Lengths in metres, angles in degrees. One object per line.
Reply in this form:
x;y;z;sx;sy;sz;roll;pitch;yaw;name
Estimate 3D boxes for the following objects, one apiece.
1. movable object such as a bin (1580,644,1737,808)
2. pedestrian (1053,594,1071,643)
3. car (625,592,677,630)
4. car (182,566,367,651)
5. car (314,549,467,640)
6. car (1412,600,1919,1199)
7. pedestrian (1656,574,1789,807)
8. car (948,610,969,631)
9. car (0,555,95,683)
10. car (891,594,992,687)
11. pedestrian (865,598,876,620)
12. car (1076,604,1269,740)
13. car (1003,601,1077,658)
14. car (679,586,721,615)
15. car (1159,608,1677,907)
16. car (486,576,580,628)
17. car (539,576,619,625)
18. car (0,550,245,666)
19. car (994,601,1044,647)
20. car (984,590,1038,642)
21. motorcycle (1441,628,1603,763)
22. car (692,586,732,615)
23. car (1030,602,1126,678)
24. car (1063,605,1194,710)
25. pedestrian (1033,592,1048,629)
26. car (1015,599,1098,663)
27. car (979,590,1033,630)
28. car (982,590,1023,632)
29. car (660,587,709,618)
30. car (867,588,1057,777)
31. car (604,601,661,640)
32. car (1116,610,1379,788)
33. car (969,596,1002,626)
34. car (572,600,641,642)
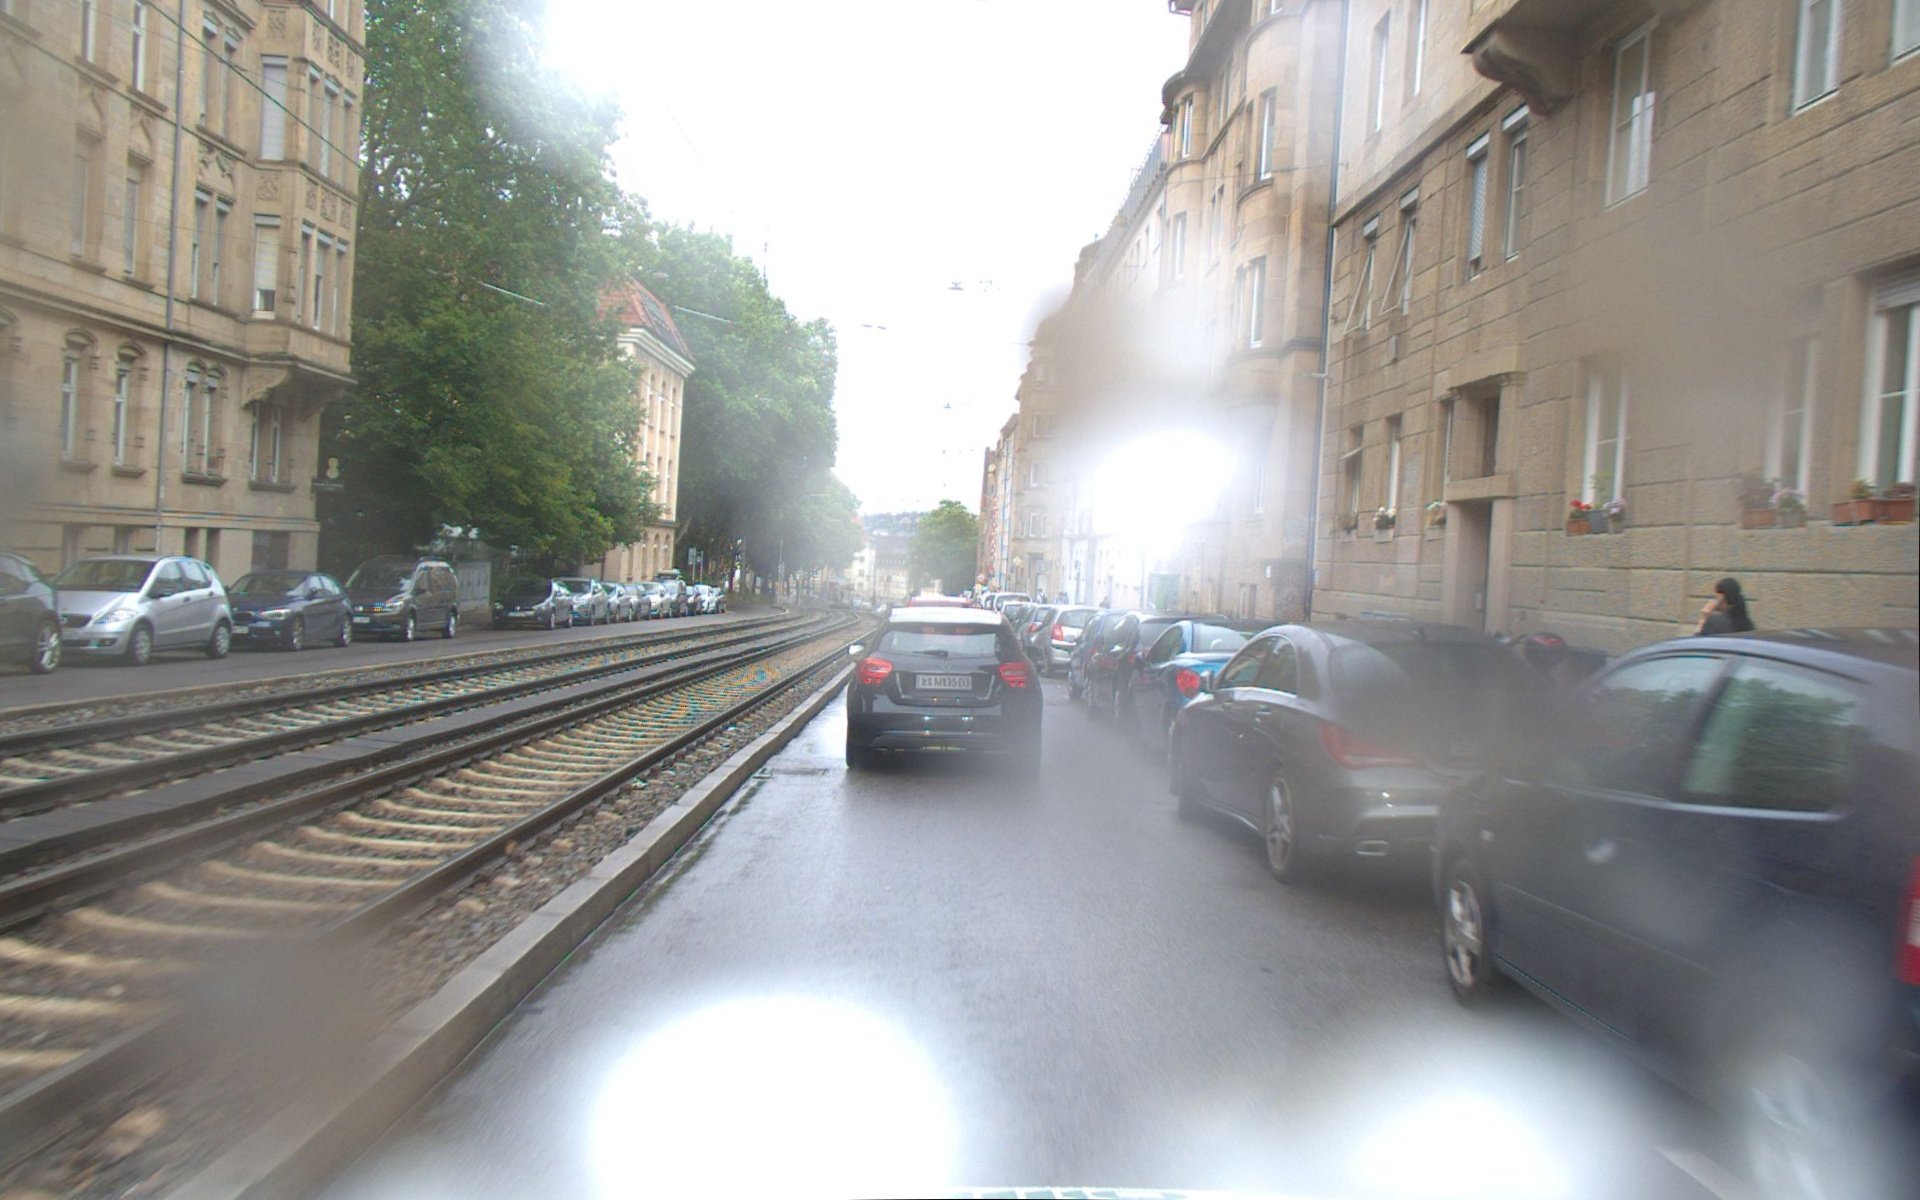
5.270;0.928;12.537;0.651;1.122;1.123;3;0;-1;movable object such as a bin
3.824;0.685;61.857;0.594;1.794;0.688;1;0;-2;pedestrian
-13.023;0.440;69.941;1.508;1.531;4.153;0;0;-2;car
-12.532;0.146;30.536;1.727;1.422;4.268;1;0;-2;car
-12.621;-0.124;36.982;1.764;1.879;4.817;1;0;-1;car
2.750;0.749;5.112;1.637;1.469;3.790;1;0;0;car
5.336;0.618;11.599;0.550;1.562;0.710;2;0;-1;pedestrian
-0.172;1.766;143.531;1.790;1.646;3.863;1;0;-1;car
-12.401;0.197;19.868;1.832;1.534;4.168;2;0;-1;car
-0.357;0.721;31.590;1.749;1.608;3.999;2;0;-1;car
-6.845;0.674;126.673;0.789;1.662;0.892;1;0;0;pedestrian
2.594;0.832;21.078;1.751;1.488;4.082;2;0;-2;car
2.162;0.779;45.826;1.636;1.434;4.310;2;0;-2;car
-13.312;0.021;84.821;1.469;1.415;3.987;0;0;0;car
2.527;0.785;10.351;1.720;1.411;4.481;1;0;-4;car
-12.711;0.055;49.465;1.812;1.489;4.548;0;0;-3;car
-12.651;0.007;55.204;1.719;1.563;4.541;0;0;-2;car
-12.343;0.105;24.656;1.660;1.550;3.854;1;0;0;car
2.002;0.804;57.019;1.538;1.487;3.599;2;0;0;car
1.869;0.567;61.443;1.754;1.796;4.211;1;0;-1;car
5.810;0.943;17.293;0.691;1.219;2.745;2;0;-1;motorcycle
-13.352;0.026;89.146;1.582;1.454;3.851;2;1;-1;car
2.451;0.804;34.954;1.559;1.459;3.682;2;0;-3;car
2.542;0.832;25.569;1.513;1.439;3.445;2;0;-2;car
4.040;0.507;83.239;0.730;1.866;1.039;0;0;0;pedestrian
2.315;0.724;40.544;1.634;1.459;3.954;1;0;-2;car
1.796;0.373;66.500;1.834;1.481;4.901;2;0;-2;car
1.922;0.493;76.249;1.791;1.781;4.467;2;0;1;car
-13.328;0.118;80.171;1.640;1.438;4.010;0;0;0;car
-0.016;0.694;15.769;1.548;1.531;3.573;2;0;-1;car
-12.782;0.775;64.690;1.508;1.438;3.951;0;0;-2;car
2.630;0.852;16.017;1.672;1.422;4.016;2;0;-2;car
1.397;0.577;91.510;1.659;1.556;4.000;3;0;0;car
-12.821;0.740;60.236;1.719;1.438;4.152;0;0;-2;car
